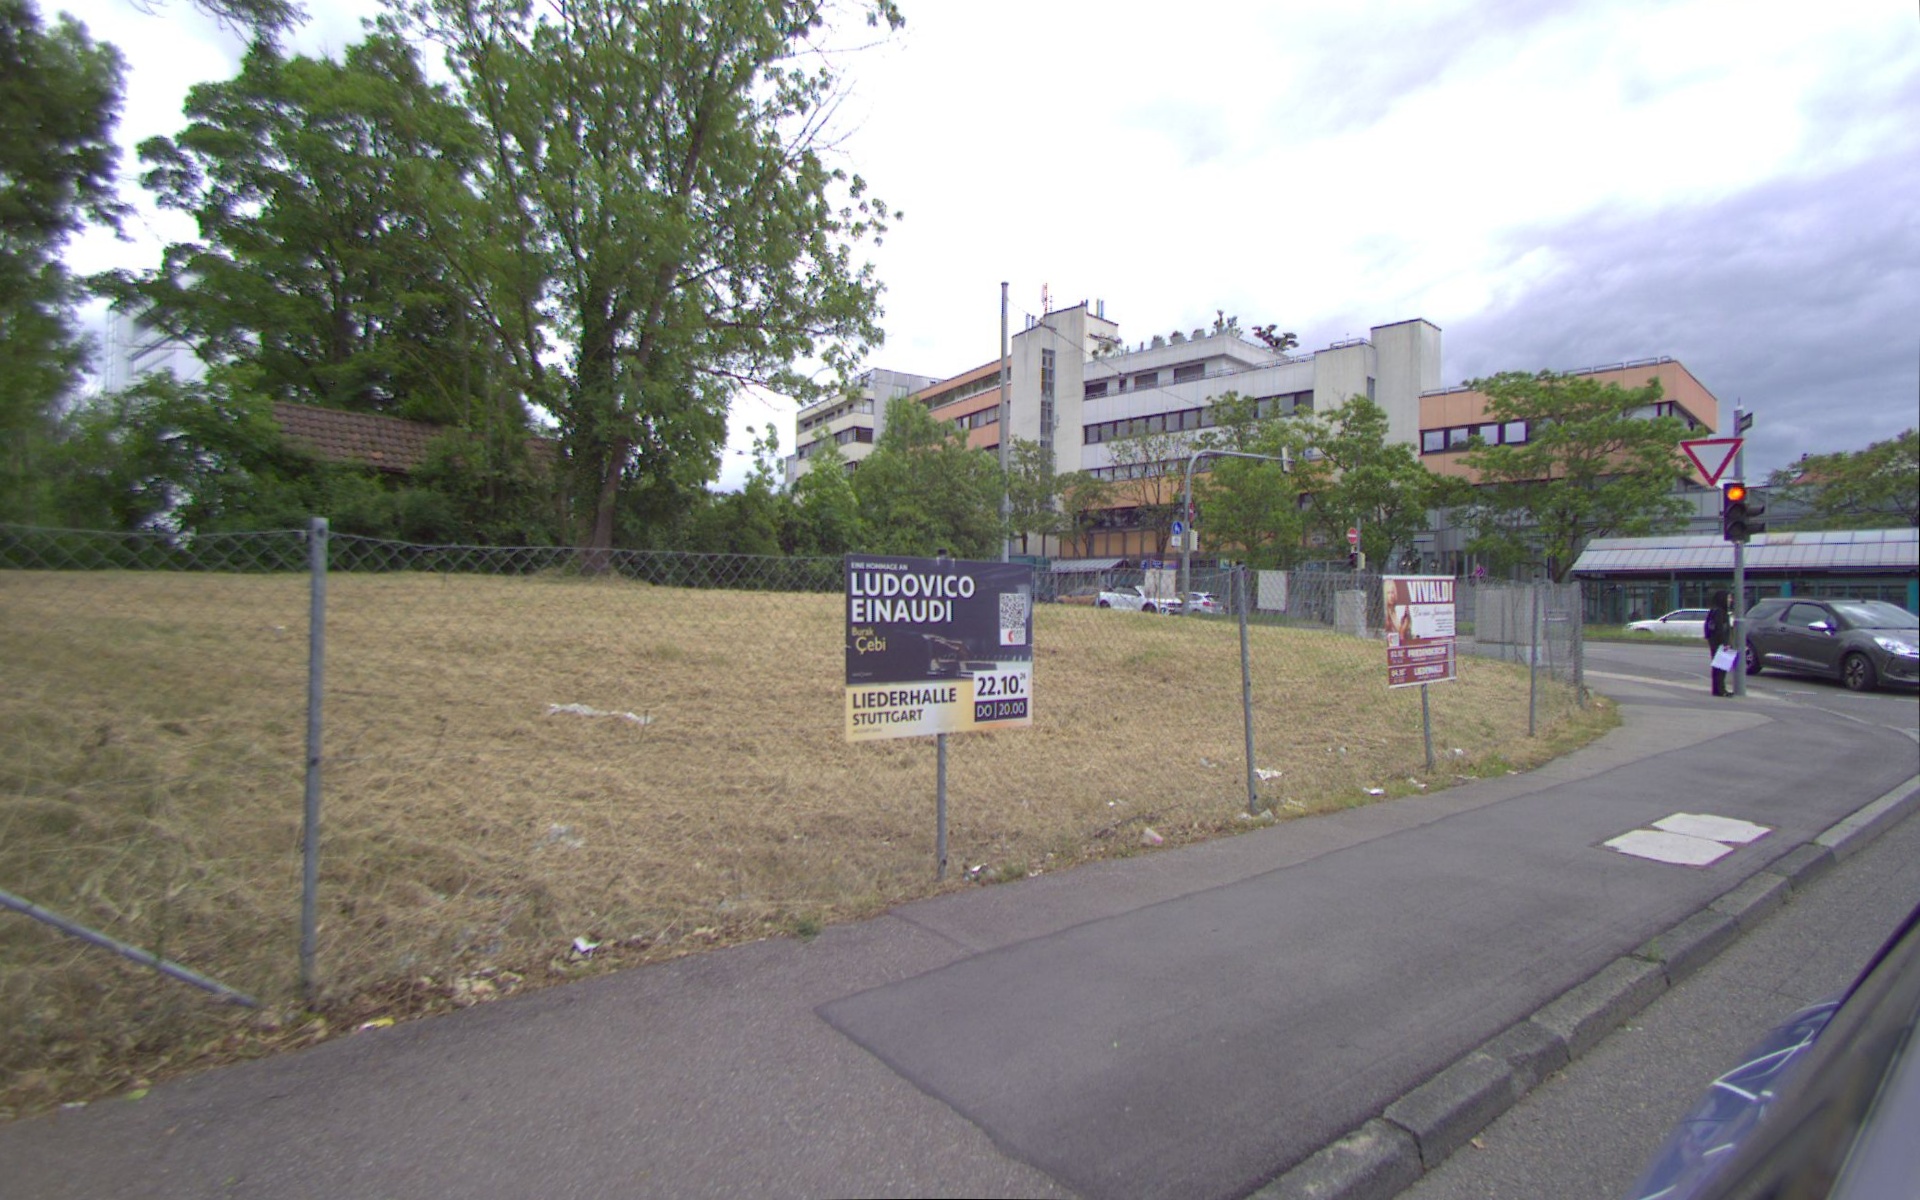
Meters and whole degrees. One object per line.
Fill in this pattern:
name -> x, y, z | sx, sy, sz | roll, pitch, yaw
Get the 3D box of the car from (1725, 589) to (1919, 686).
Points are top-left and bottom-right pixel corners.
car -> 15.265, 0.572, 17.135 | 1.616, 1.415, 3.783 | 2, 1, -1

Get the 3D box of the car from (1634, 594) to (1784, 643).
car -> 26.343, 0.615, 35.707 | 1.602, 1.397, 3.933 | 1, 3, -40

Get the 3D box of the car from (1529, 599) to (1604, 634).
car -> 28.175, 0.738, 46.972 | 3.930, 1.474, 1.801 | 0, 3, -41

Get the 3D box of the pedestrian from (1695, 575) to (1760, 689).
pedestrian -> 11.326, 0.461, 14.933 | 0.661, 1.610, 0.552 | 1, 3, -41

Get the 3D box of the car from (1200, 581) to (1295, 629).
car -> 14.018, 0.192, 49.544 | 1.965, 2.038, 3.996 | 0, 3, -41

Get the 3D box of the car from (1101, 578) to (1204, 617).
car -> 8.237, -0.139, 43.518 | 1.967, 1.530, 3.991 | 0, 1, -43

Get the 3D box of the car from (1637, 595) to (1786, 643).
car -> 26.397, 0.630, 35.653 | 1.638, 1.327, 3.915 | 1, 3, -40

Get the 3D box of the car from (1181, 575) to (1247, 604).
car -> 12.677, -0.530, 50.648 | 1.271, 1.236, 2.996 | 1, 4, -40
